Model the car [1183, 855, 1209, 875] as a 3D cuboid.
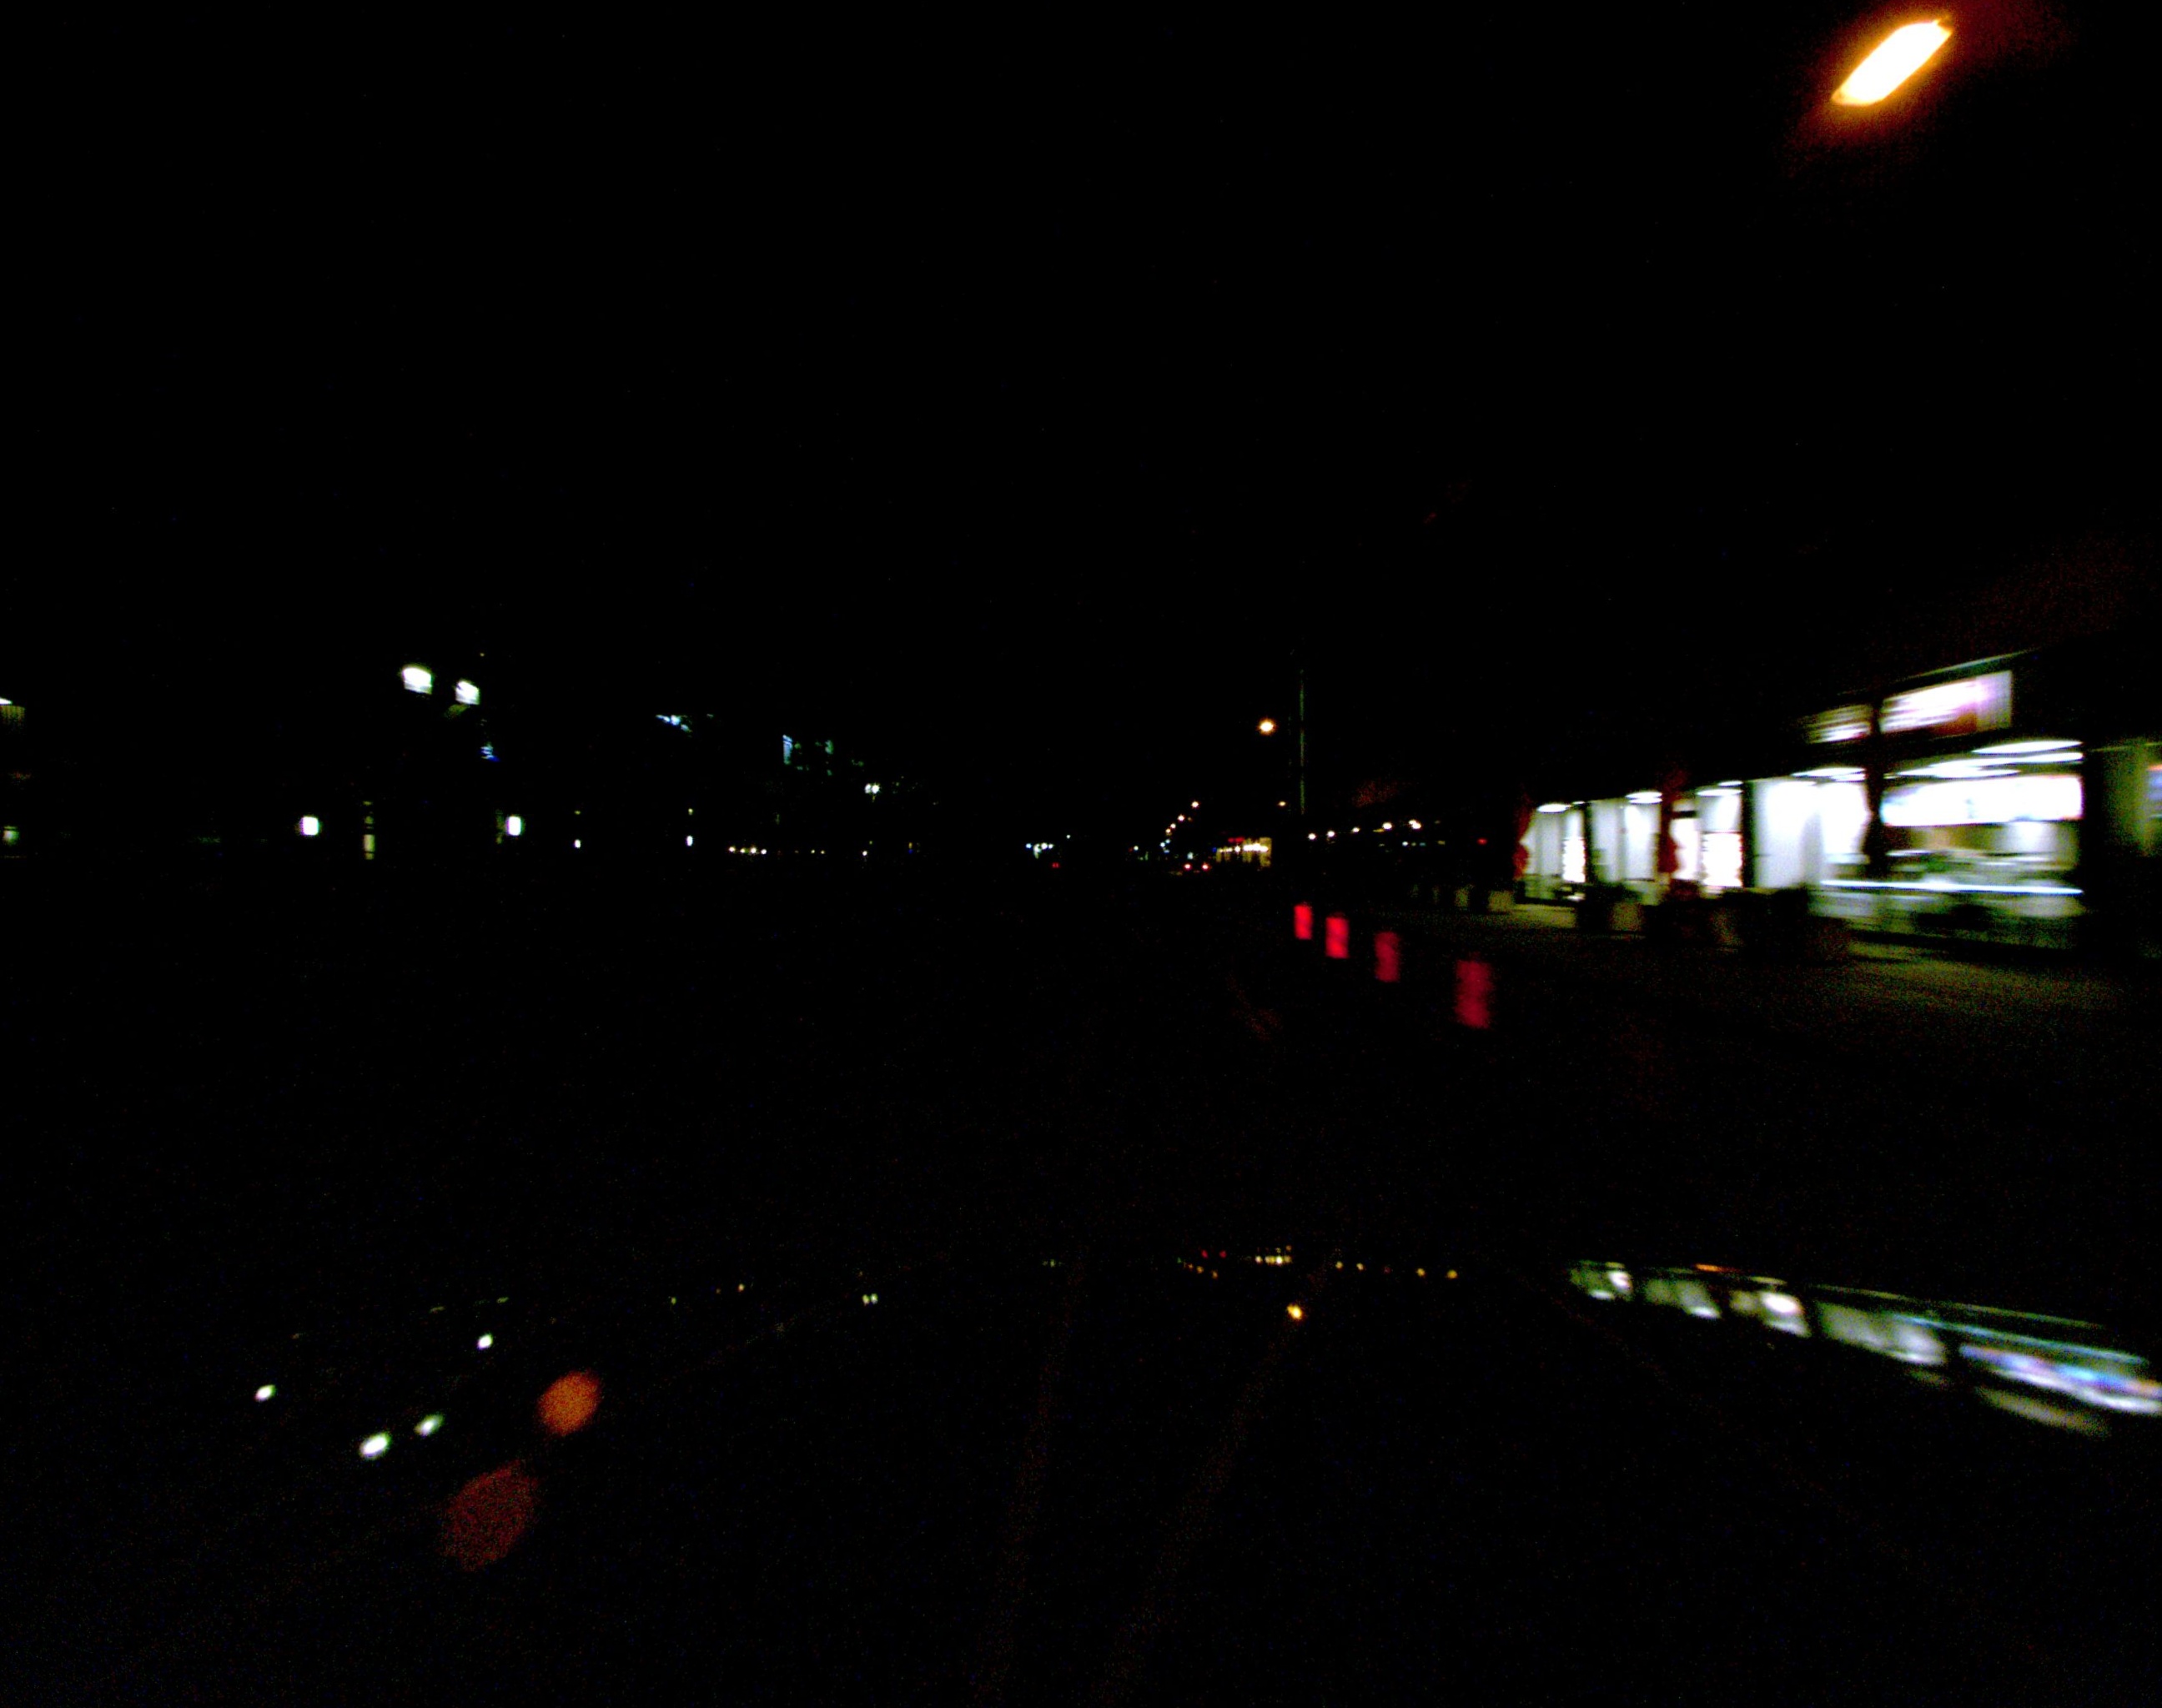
[{"bbox_3d":[8.952,0.829,59.251,1.670,1.420,4.001,2,0,4],"label":"car"}]
